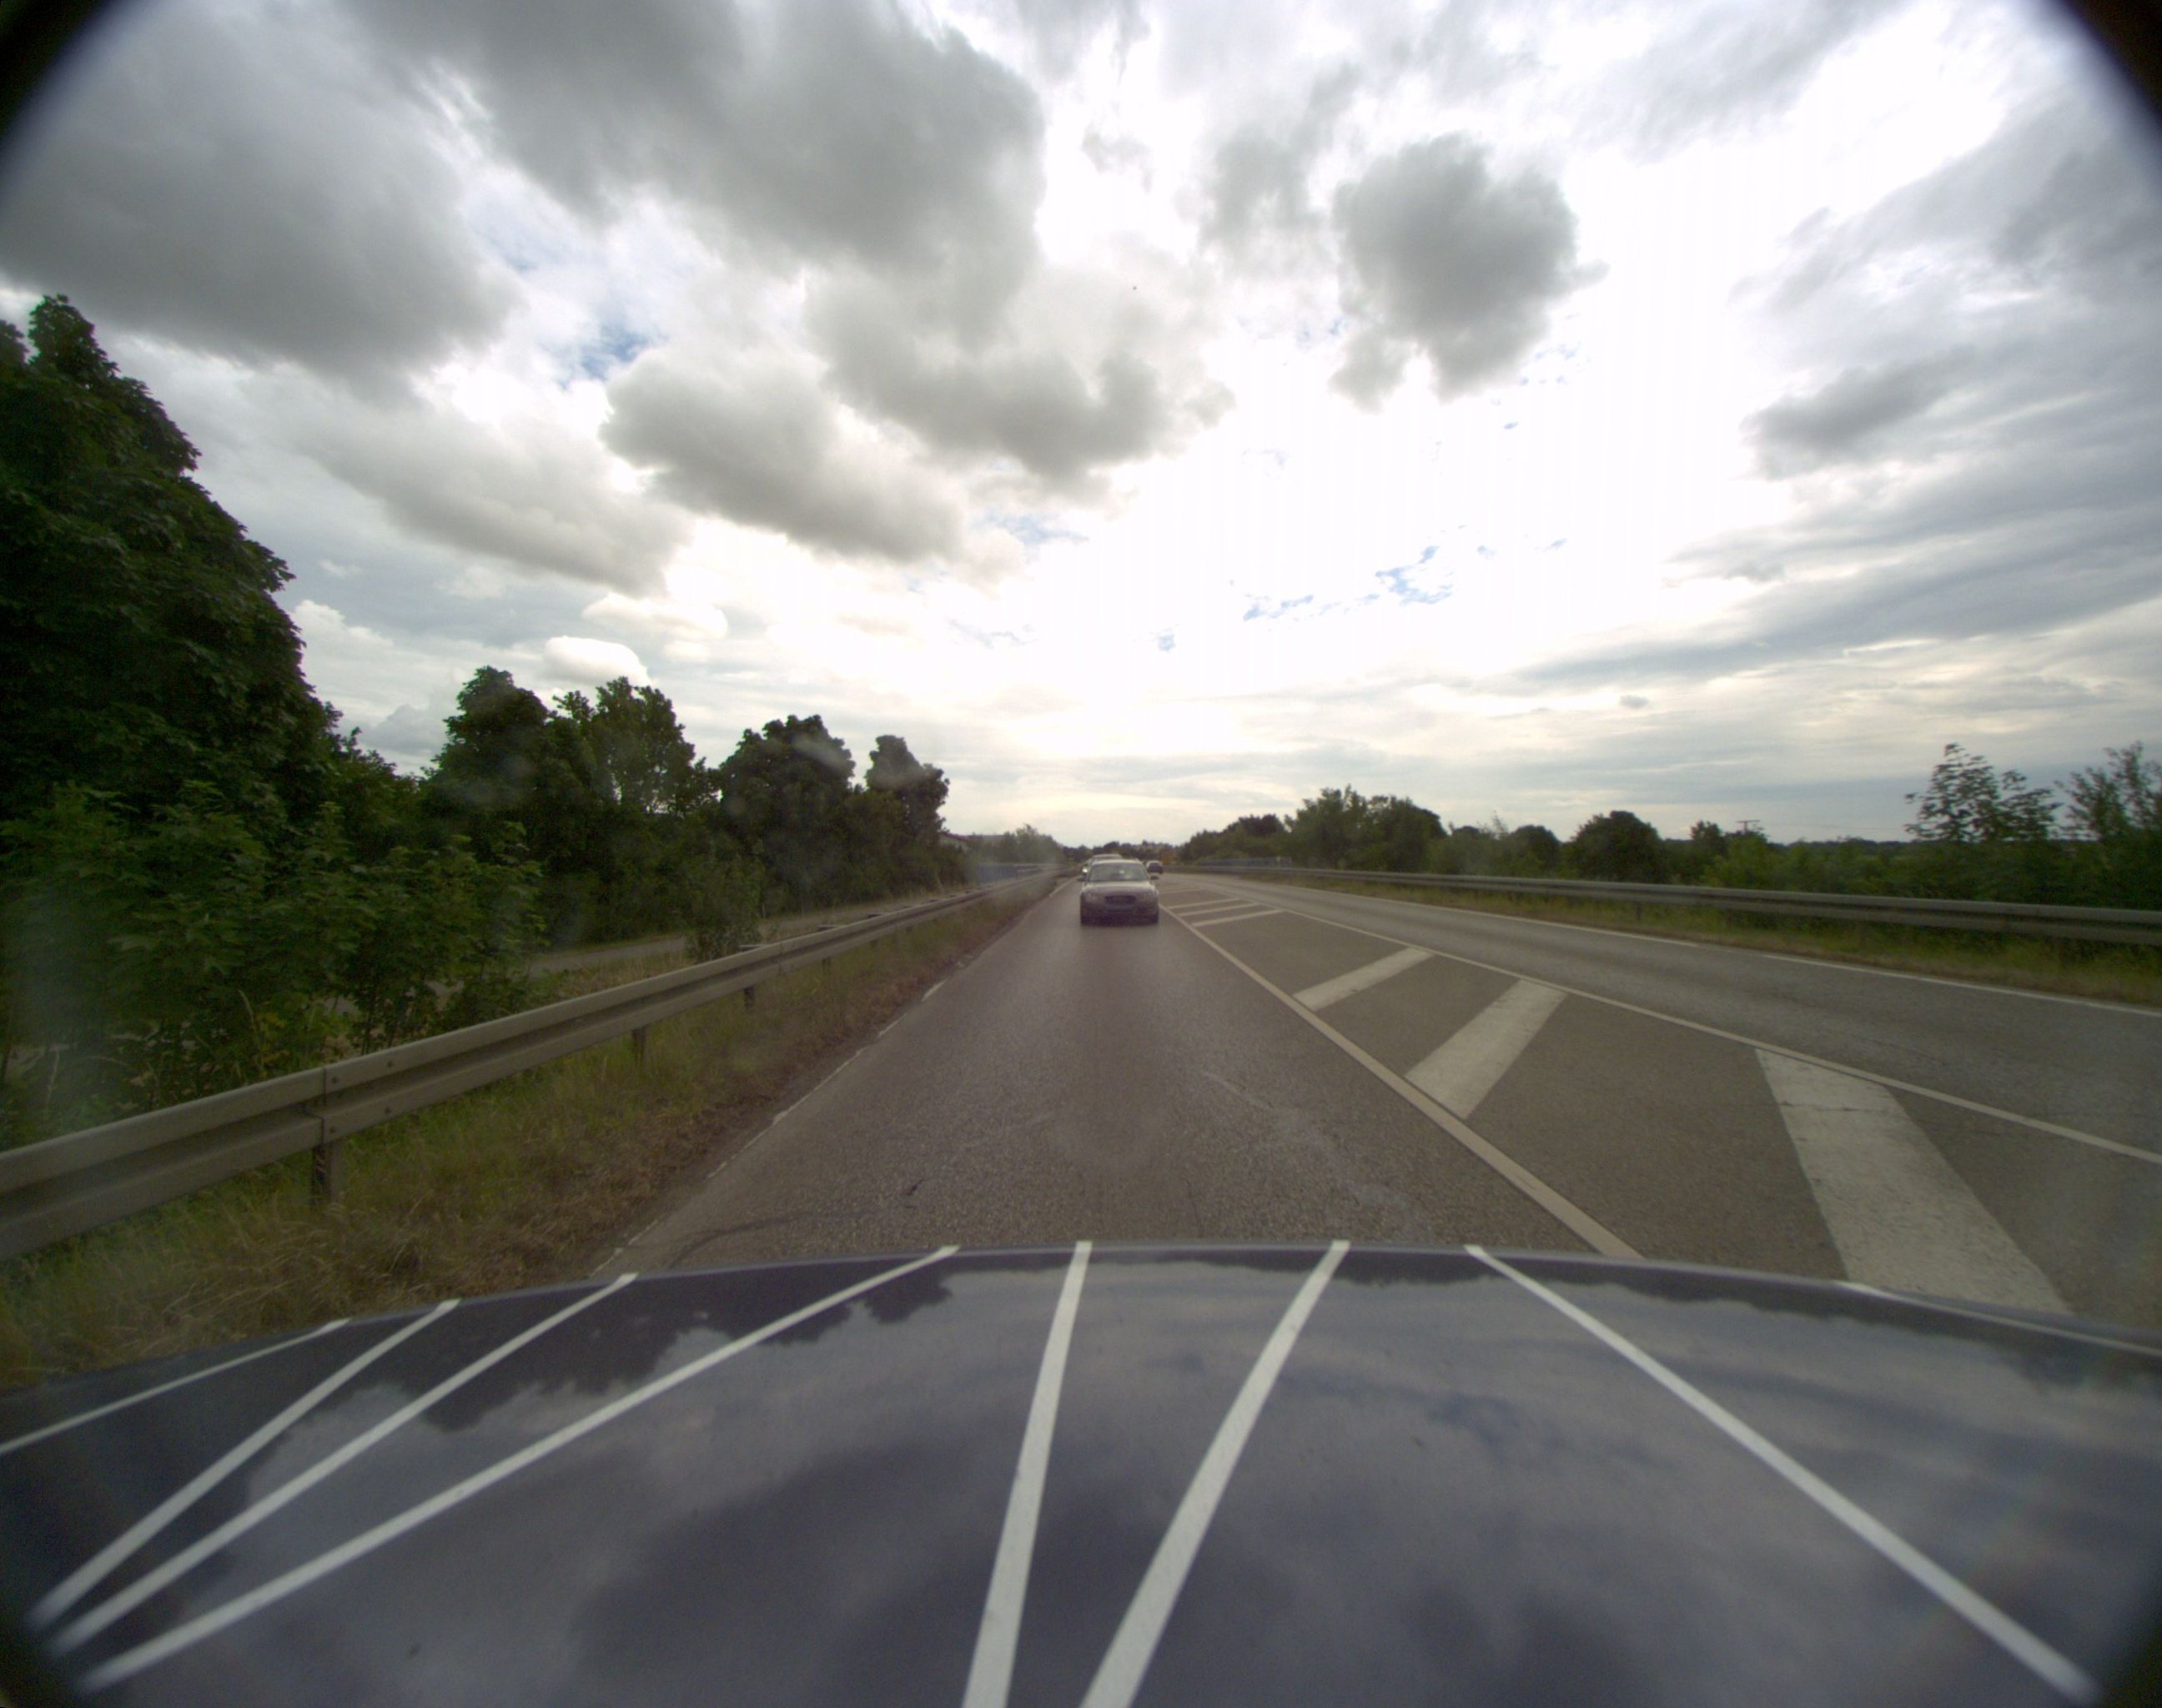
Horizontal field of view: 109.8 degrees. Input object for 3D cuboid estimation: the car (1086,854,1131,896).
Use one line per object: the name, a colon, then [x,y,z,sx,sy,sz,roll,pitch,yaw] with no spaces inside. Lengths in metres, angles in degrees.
car: [1.072,0.810,31.329,1.684,1.521,4.000,-2,0,1]

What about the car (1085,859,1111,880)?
car: [1.183,1.034,52.850,1.670,1.339,4.000,-2,0,1]

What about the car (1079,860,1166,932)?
car: [0.897,0.896,17.813,1.768,1.383,3.876,-2,1,1]

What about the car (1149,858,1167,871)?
car: [8.574,1.134,85.390,1.626,1.371,4.512,-1,0,1]
